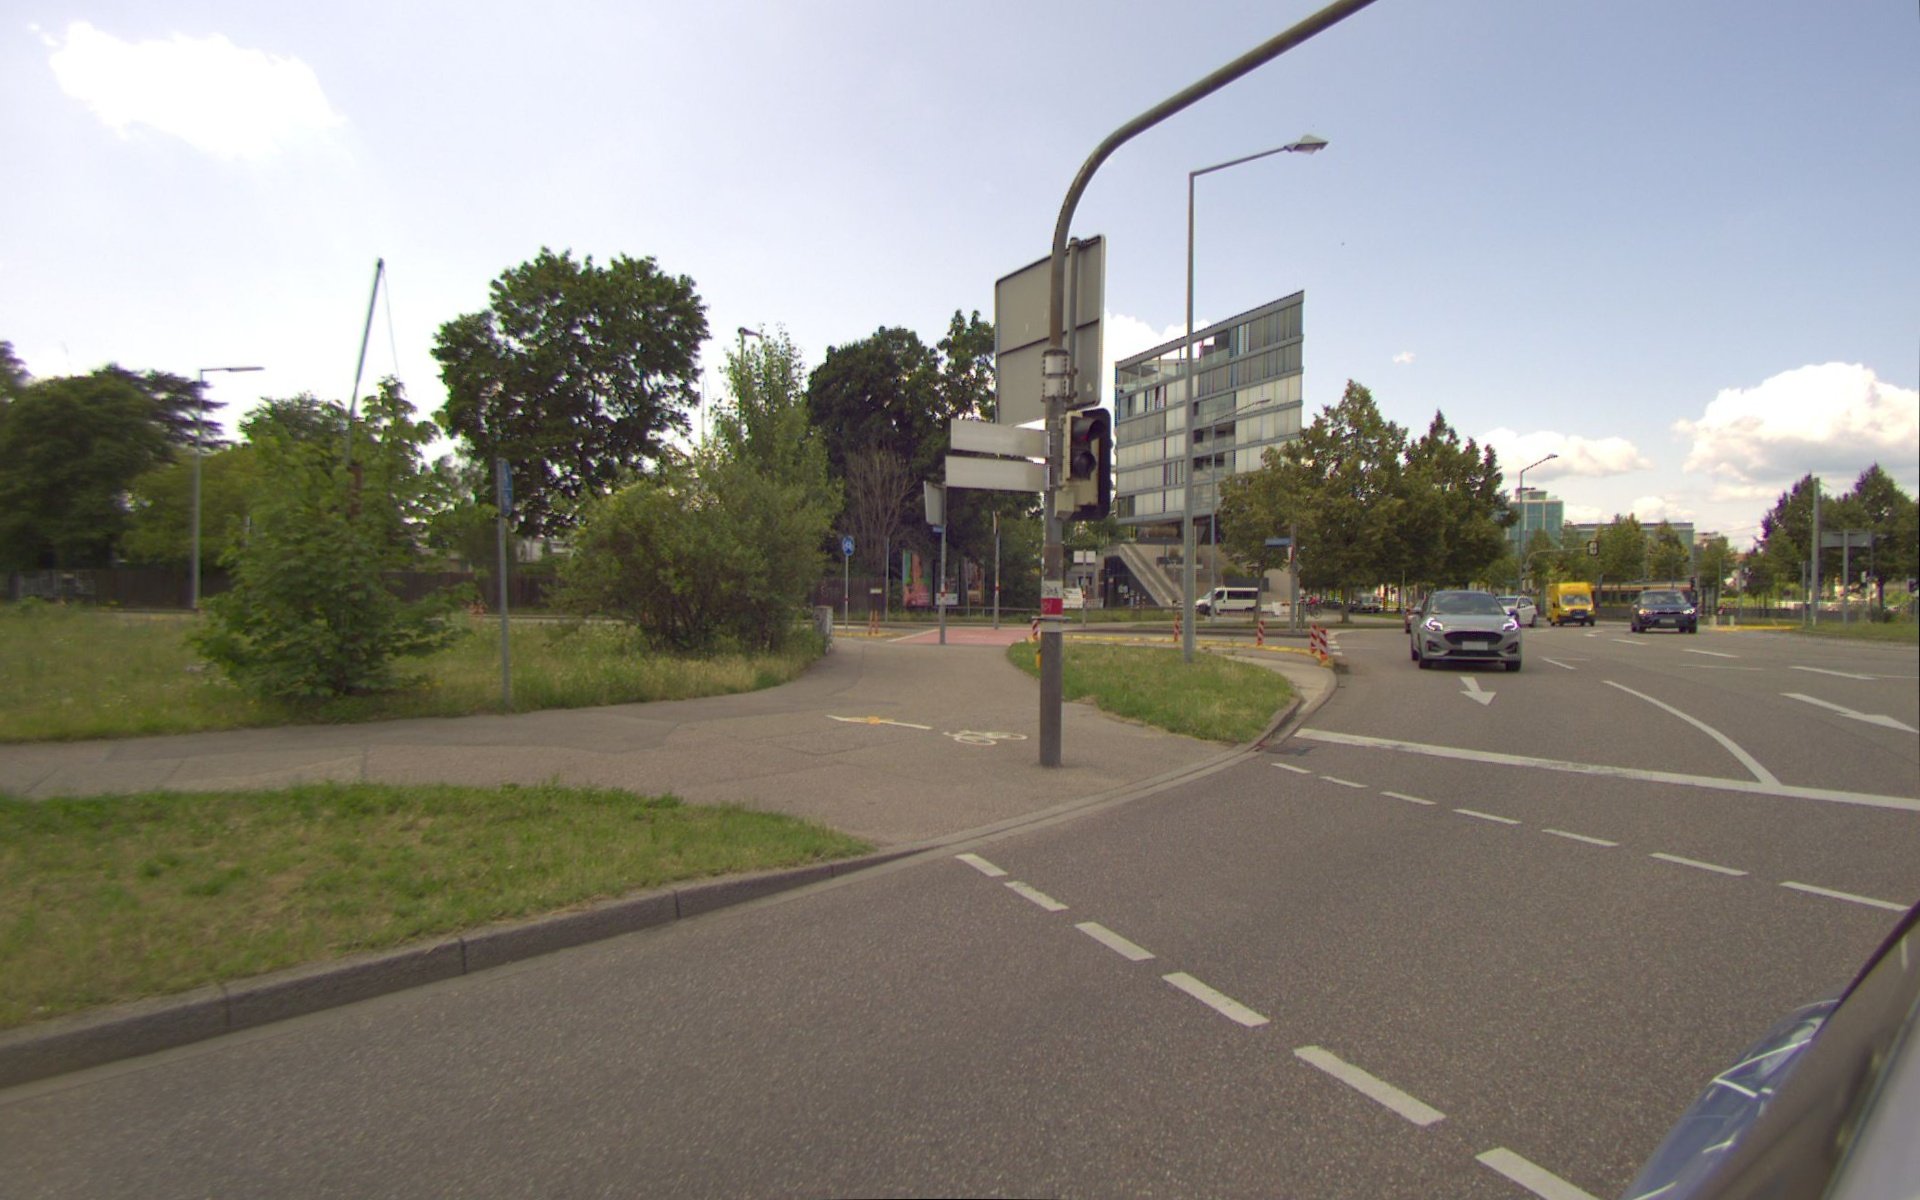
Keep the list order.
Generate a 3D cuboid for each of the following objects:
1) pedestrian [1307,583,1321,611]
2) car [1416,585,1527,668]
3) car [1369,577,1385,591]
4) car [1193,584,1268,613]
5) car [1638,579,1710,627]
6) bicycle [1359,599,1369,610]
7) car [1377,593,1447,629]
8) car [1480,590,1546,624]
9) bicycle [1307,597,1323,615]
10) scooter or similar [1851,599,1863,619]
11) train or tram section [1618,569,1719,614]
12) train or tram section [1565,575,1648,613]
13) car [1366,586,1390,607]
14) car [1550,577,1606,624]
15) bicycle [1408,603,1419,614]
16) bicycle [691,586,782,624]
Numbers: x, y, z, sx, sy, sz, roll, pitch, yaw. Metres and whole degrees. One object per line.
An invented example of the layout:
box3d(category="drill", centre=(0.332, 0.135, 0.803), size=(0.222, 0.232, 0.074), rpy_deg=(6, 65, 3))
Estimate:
box3d(category="pedestrian", centre=(25.800, -0.240, 73.769), size=(0.744, 2.039, 1.227), rpy_deg=(-1, 0, 14))
box3d(category="car", centre=(10.313, 0.459, 20.641), size=(1.655, 1.489, 4.062), rpy_deg=(1, 1, 22))
box3d(category="car", centre=(52.022, -1.931, 126.181), size=(1.804, 1.672, 3.969), rpy_deg=(-2, 0, 23))
box3d(category="car", centre=(20.518, -0.134, 76.941), size=(5.048, 2.175, 2.151), rpy_deg=(0, 0, -5))
box3d(category="car", centre=(26.624, 0.080, 37.844), size=(1.760, 1.619, 4.085), rpy_deg=(-2, 0, 30))
box3d(category="bicycle", centre=(40.242, 0.421, 100.836), size=(0.508, 1.102, 1.743), rpy_deg=(1, 0, 10))
box3d(category="car", centre=(17.342, 0.401, 38.736), size=(1.665, 1.277, 4.039), rpy_deg=(1, 1, 36))
box3d(category="car", centre=(27.652, 0.345, 50.538), size=(4.058, 1.619, 1.671), rpy_deg=(-1, -1, -43))
box3d(category="bicycle", centre=(25.834, 0.454, 73.735), size=(0.800, 1.260, 2.402), rpy_deg=(-2, 0, 13))
box3d(category="scooter or similar", centre=(62.912, 0.614, 70.978), size=(0.416, 1.318, 1.330), rpy_deg=(0, 2, 34))
box3d(category="train or tram section", centre=(64.193, -0.701, 92.171), size=(2.809, 3.787, 13.420), rpy_deg=(0, 0, 13))
box3d(category="train or tram section", centre=(67.372, -0.626, 105.894), size=(2.655, 3.684, 14.602), rpy_deg=(0, 0, 13))
box3d(category="car", centre=(49.643, -0.411, 120.291), size=(2.134, 2.424, 6.241), rpy_deg=(-2, 0, 18))
box3d(category="car", centre=(40.728, -0.020, 66.874), size=(2.261, 2.889, 7.196), rpy_deg=(0, 1, 24))
box3d(category="bicycle", centre=(34.324, 0.649, 76.595), size=(0.352, 0.837, 1.470), rpy_deg=(0, 0, 8))
box3d(category="bicycle", centre=(-6.436, 0.151, 29.119), size=(2.514, 1.030, 0.870), rpy_deg=(-2, 0, 22))
